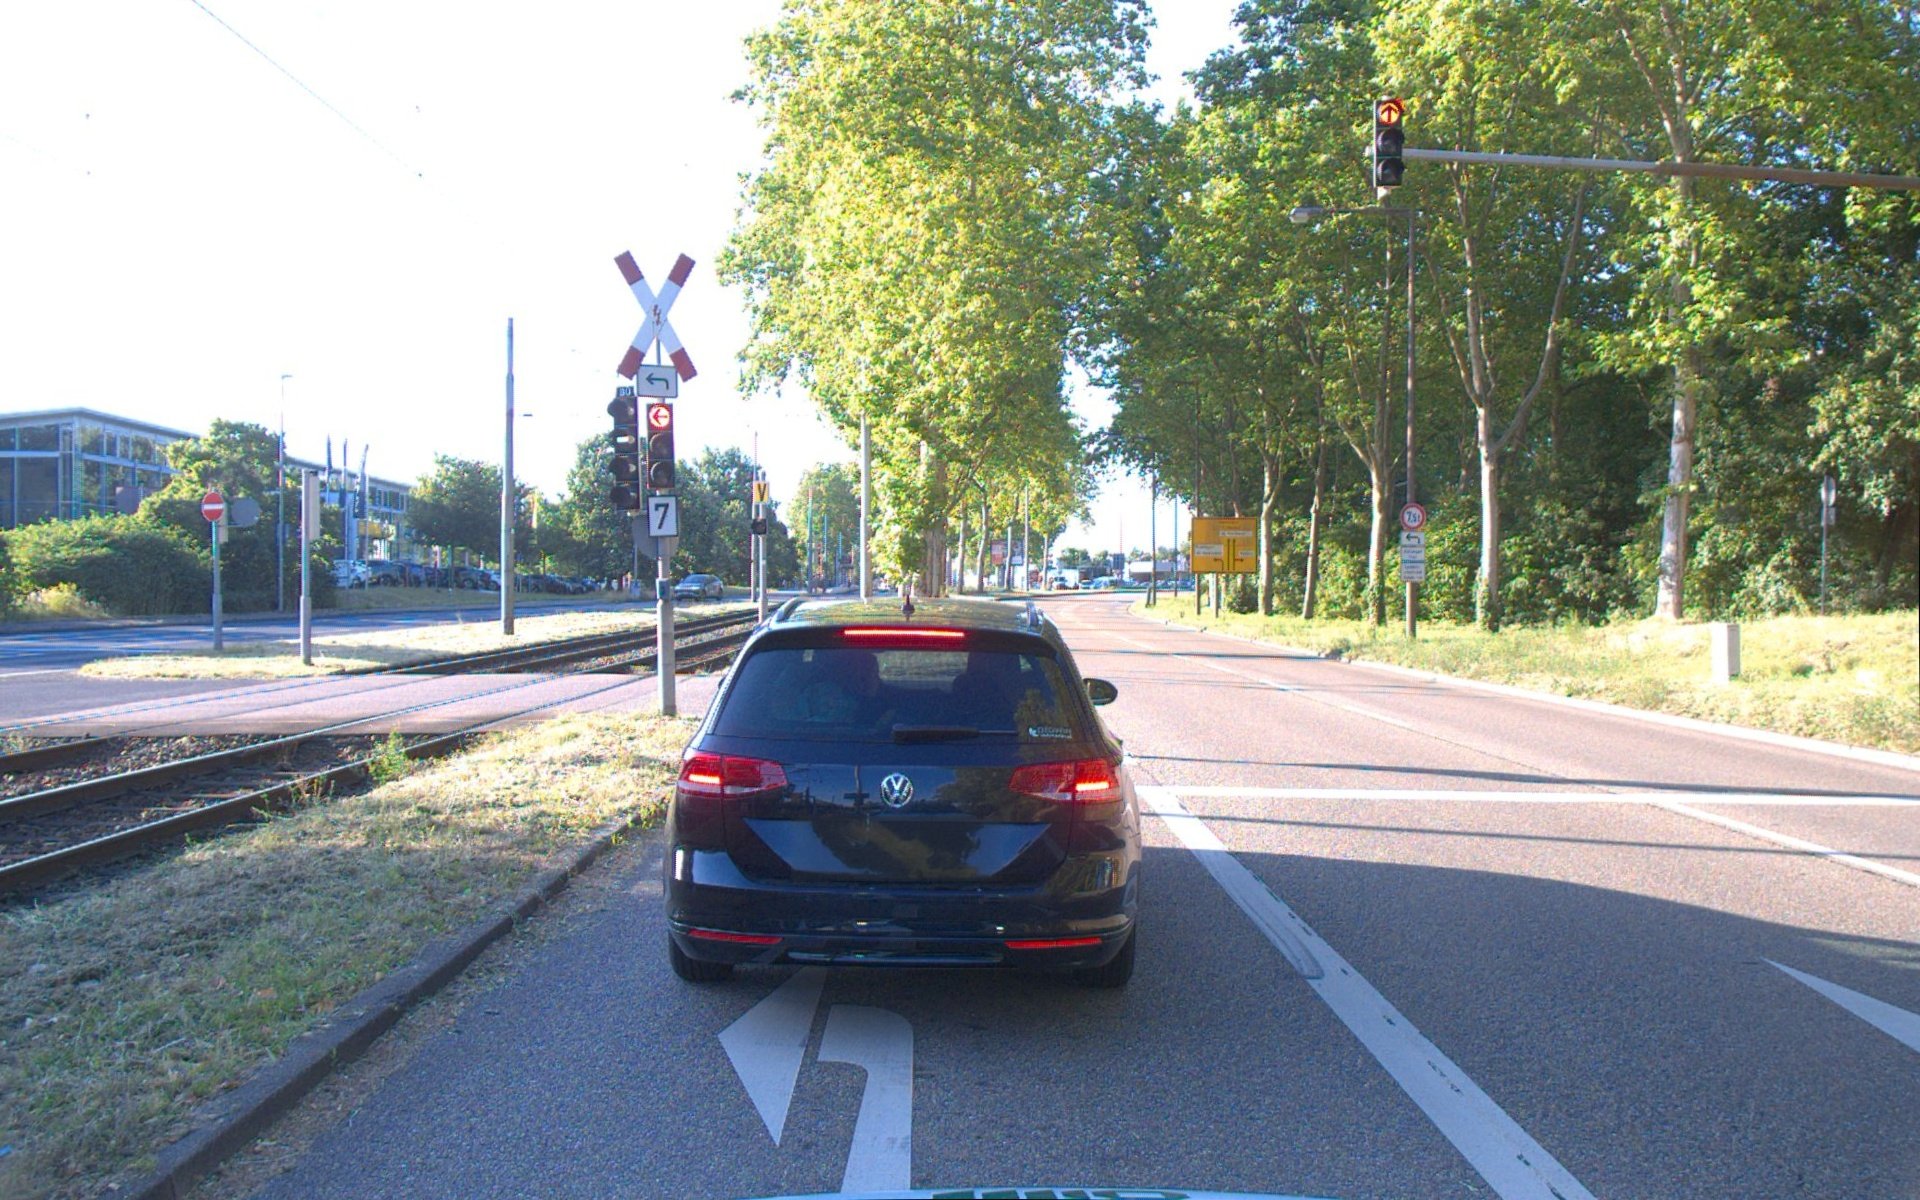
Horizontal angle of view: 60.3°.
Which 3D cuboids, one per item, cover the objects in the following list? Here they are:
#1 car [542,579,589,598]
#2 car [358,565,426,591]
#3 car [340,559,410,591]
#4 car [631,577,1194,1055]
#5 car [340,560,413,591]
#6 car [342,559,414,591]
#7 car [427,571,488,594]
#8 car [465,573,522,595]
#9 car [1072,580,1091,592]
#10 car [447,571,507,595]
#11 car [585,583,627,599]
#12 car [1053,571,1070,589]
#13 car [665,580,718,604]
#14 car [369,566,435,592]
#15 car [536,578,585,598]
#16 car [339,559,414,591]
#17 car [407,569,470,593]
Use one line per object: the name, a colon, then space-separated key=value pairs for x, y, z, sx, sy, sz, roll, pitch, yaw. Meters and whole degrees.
car: x=-35.543 y=-1.062 z=149.176 sx=3.909 sy=1.649 sz=1.742 roll=1 pitch=0 yaw=-6
car: x=-35.224 y=-1.353 z=102.575 sx=3.930 sy=1.583 sz=1.732 roll=1 pitch=0 yaw=-22
car: x=-35.283 y=-1.511 z=99.775 sx=3.930 sy=1.848 sz=1.732 roll=1 pitch=0 yaw=-22
car: x=-0.183 y=0.676 z=7.034 sx=1.759 sy=1.490 sz=3.582 roll=1 pitch=0 yaw=-1
car: x=-33.715 y=-1.404 z=95.596 sx=3.930 sy=1.734 sz=1.732 roll=1 pitch=0 yaw=-22
car: x=-34.463 y=-1.476 z=97.921 sx=3.930 sy=1.848 sz=1.732 roll=1 pitch=0 yaw=-22
car: x=-35.802 y=-1.251 z=117.967 sx=3.911 sy=1.583 sz=1.741 roll=1 pitch=0 yaw=-7
car: x=-35.264 y=-1.216 z=125.114 sx=3.909 sy=1.649 sz=1.742 roll=1 pitch=0 yaw=-6
car: x=15.286 y=-1.751 z=208.048 sx=1.825 sy=1.507 sz=4.089 roll=1 pitch=0 yaw=-3
car: x=-35.594 y=-1.247 z=121.898 sx=3.909 sy=1.649 sz=1.742 roll=1 pitch=0 yaw=-6
car: x=-35.991 y=-0.927 z=168.080 sx=3.909 sy=1.583 sz=1.742 roll=1 pitch=0 yaw=-5
car: x=14.650 y=-2.863 z=239.510 sx=2.052 sy=2.504 sz=5.853 roll=1 pitch=1 yaw=0
car: x=-17.463 y=-0.536 z=107.739 sx=1.822 sy=1.507 sz=4.175 roll=1 pitch=1 yaw=15
car: x=-35.565 y=-1.336 z=105.353 sx=3.930 sy=1.583 sz=1.732 roll=1 pitch=0 yaw=-22
car: x=-35.245 y=-1.077 z=146.018 sx=3.909 sy=1.649 sz=1.742 roll=1 pitch=0 yaw=-6
car: x=-32.932 y=-1.387 z=93.357 sx=3.930 sy=1.734 sz=1.732 roll=1 pitch=0 yaw=-22
car: x=-36.062 y=-1.279 z=114.443 sx=3.913 sy=1.583 sz=1.740 roll=1 pitch=0 yaw=-9
